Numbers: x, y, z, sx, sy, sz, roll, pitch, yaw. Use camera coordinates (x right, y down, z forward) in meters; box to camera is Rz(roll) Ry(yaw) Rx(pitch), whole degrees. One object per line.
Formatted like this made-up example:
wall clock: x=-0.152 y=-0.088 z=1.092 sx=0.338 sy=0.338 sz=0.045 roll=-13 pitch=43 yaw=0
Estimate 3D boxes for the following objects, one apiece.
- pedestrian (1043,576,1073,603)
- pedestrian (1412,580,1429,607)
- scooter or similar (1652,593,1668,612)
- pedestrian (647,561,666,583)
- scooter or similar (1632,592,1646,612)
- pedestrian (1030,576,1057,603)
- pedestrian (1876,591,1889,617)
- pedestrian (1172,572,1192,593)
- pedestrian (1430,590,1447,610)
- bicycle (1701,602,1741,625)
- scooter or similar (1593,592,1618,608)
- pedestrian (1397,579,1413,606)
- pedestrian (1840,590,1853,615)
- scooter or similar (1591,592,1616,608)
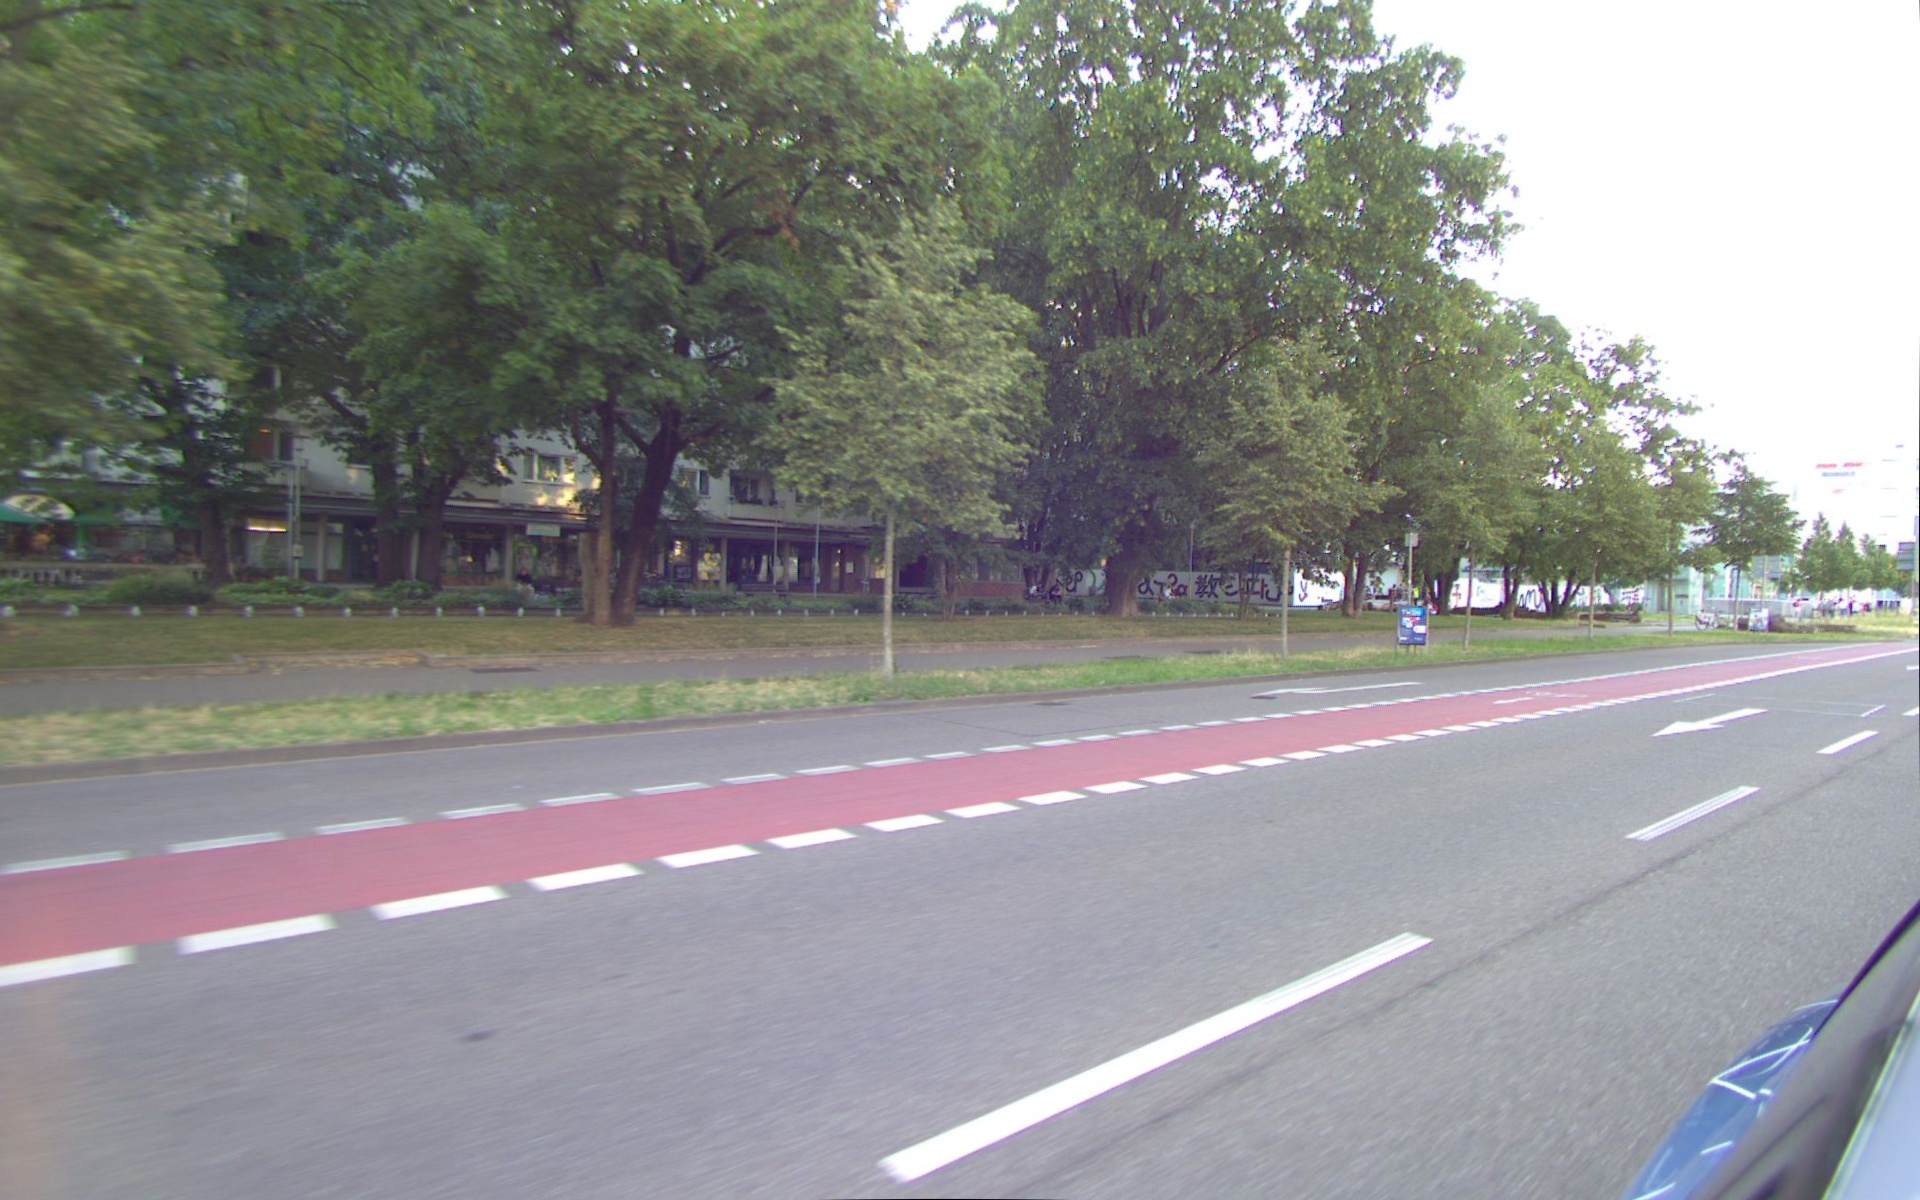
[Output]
pedestrian: x=4.833 y=-0.512 z=50.006 sx=0.888 sy=1.276 sz=1.135 roll=1 pitch=2 yaw=-37
pedestrian: x=31.877 y=-0.466 z=70.065 sx=0.587 sy=1.843 sz=0.771 roll=1 pitch=1 yaw=-25
scooter or similar: x=45.792 y=0.162 z=66.190 sx=1.373 sy=1.235 sz=0.425 roll=1 pitch=4 yaw=-40
pedestrian: x=-16.437 y=-1.516 z=54.840 sx=0.687 sy=1.178 sz=0.788 roll=1 pitch=1 yaw=-40
scooter or similar: x=44.991 y=0.125 z=67.045 sx=0.473 sy=1.235 sz=1.550 roll=6 pitch=4 yaw=43
pedestrian: x=4.059 y=-0.530 z=49.478 sx=0.712 sy=1.276 sz=1.135 roll=1 pitch=2 yaw=-37
pedestrian: x=71.619 y=0.318 z=78.565 sx=0.608 sy=1.957 sz=0.644 roll=1 pitch=1 yaw=-40
pedestrian: x=12.498 y=-0.981 z=56.848 sx=0.786 sy=1.178 sz=0.754 roll=3 pitch=1 yaw=45
pedestrian: x=21.675 y=0.002 z=45.823 sx=0.674 sy=0.895 sz=0.588 roll=2 pitch=1 yaw=26
bicycle: x=35.964 y=0.631 z=47.842 sx=1.858 sy=1.017 sz=0.497 roll=2 pitch=3 yaw=-20
scooter or similar: x=50.897 y=-0.003 z=79.780 sx=0.466 sy=1.236 sz=1.572 roll=0 pitch=0 yaw=-42
pedestrian: x=30.918 y=-0.532 z=70.355 sx=0.587 sy=1.879 sz=0.771 roll=1 pitch=1 yaw=-25
pedestrian: x=70.343 y=0.176 z=80.307 sx=0.608 sy=1.957 sz=0.644 roll=1 pitch=1 yaw=-38
scooter or similar: x=50.331 y=0.011 z=79.206 sx=0.466 sy=1.236 sz=1.572 roll=0 pitch=0 yaw=-42
